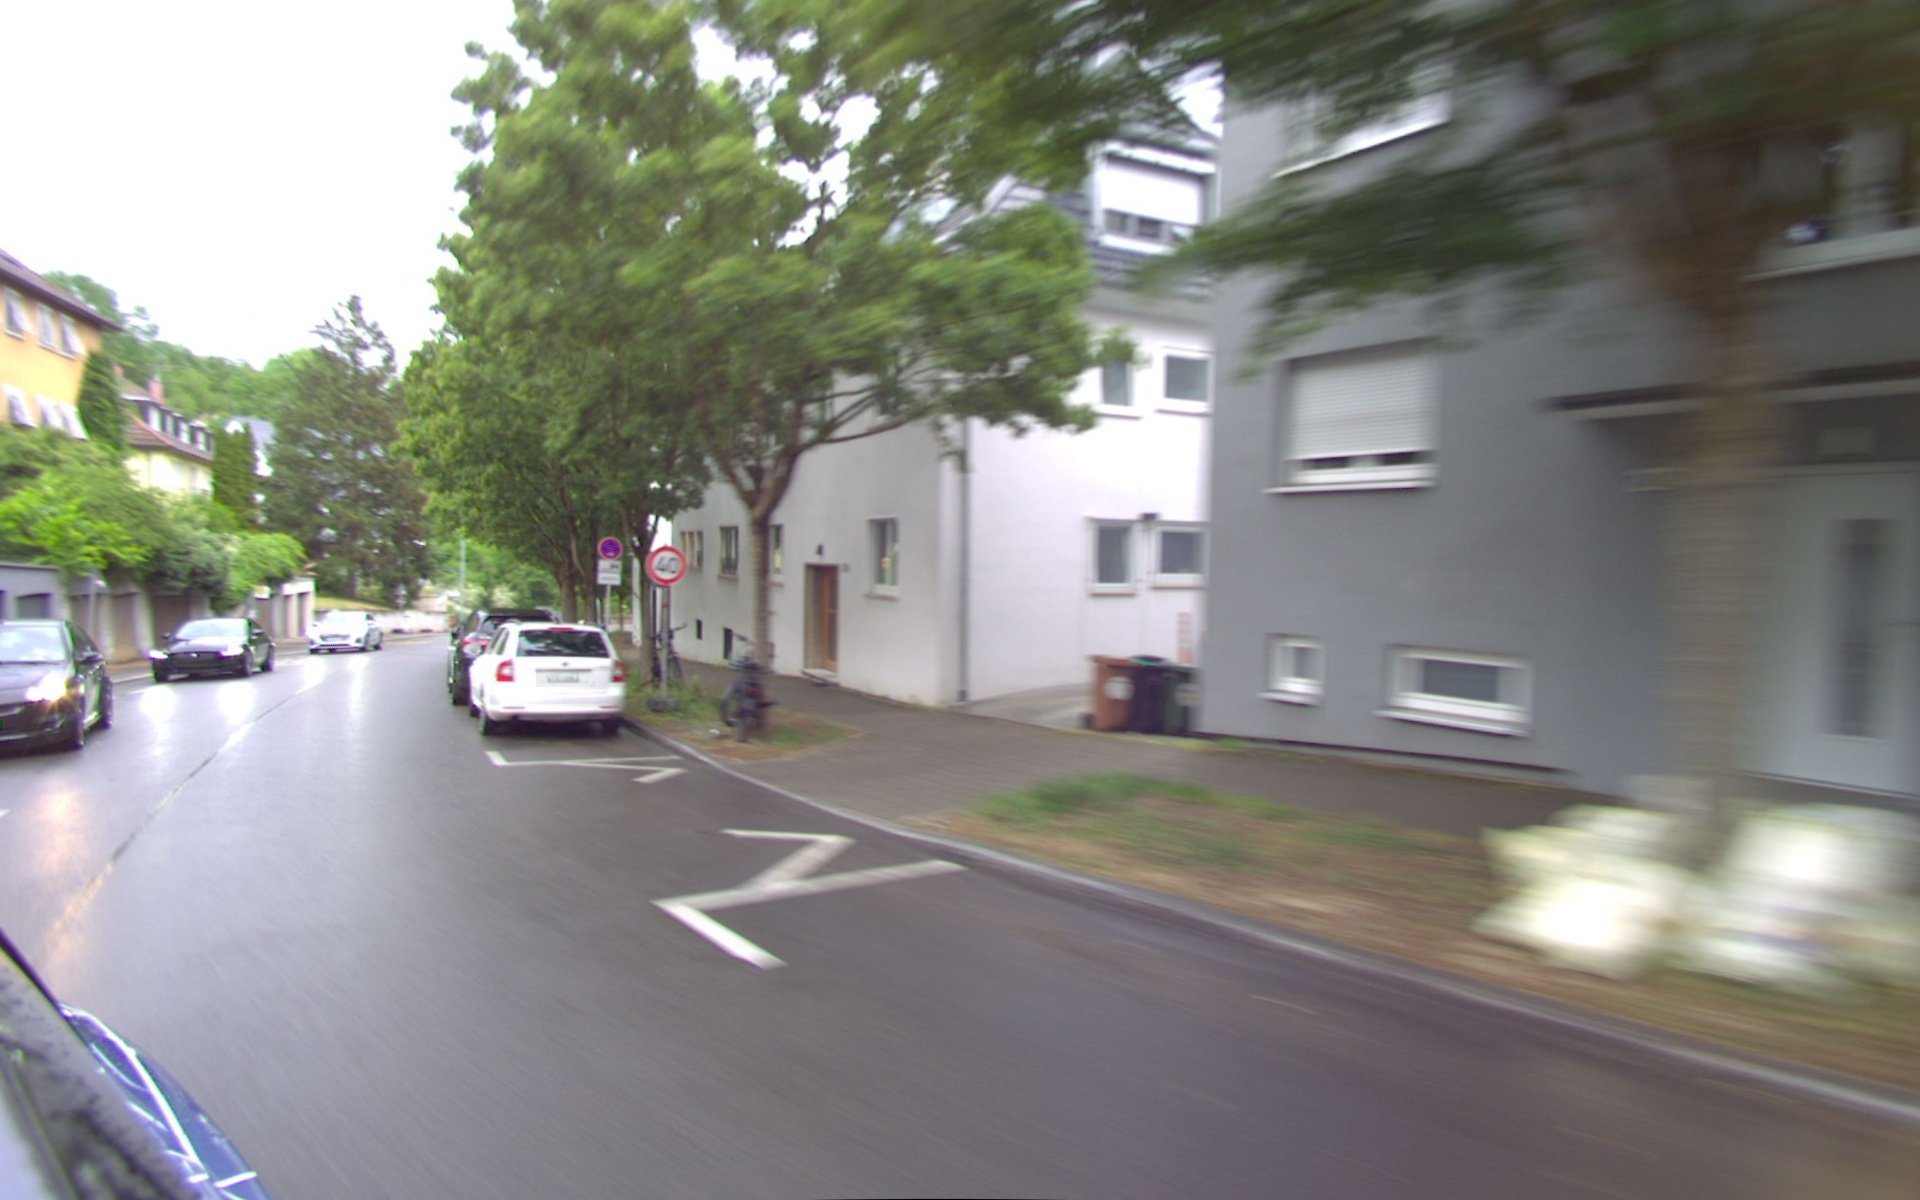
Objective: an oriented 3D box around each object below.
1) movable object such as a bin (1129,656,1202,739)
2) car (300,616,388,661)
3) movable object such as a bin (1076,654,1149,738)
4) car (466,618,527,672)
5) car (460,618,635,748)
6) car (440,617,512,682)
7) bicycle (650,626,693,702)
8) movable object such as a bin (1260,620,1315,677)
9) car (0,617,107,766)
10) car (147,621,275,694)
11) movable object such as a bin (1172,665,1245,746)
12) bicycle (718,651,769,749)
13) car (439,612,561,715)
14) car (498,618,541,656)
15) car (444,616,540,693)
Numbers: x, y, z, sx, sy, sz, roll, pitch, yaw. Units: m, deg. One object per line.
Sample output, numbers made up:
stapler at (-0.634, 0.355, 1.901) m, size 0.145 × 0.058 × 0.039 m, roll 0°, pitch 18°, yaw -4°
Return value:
movable object such as a bin at (2.551, 1.199, 12.596) m, size 0.646 × 0.958 × 0.646 m, roll 0°, pitch -1°, yaw -19°
car at (-24.638, 1.525, 40.670) m, size 1.979 × 1.674 × 4.459 m, roll 2°, pitch -2°, yaw -18°
movable object such as a bin at (1.856, 1.152, 12.374) m, size 0.646 × 0.958 × 0.646 m, roll 0°, pitch -1°, yaw -19°
car at (-14.613, 1.394, 32.042) m, size 1.533 × 1.522 × 3.395 m, roll 4°, pitch -2°, yaw -22°
car at (-5.870, 1.038, 14.102) m, size 1.658 × 1.520 × 4.329 m, roll 2°, pitch -2°, yaw -30°
car at (-13.062, 1.293, 27.474) m, size 1.533 × 1.500 × 4.111 m, roll 4°, pitch -2°, yaw -24°
bicycle at (-5.161, 1.108, 18.040) m, size 0.610 × 1.261 × 1.911 m, roll 0°, pitch -1°, yaw -19°
movable object such as a bin at (5.702, 0.835, 17.639) m, size 0.633 × 0.958 × 0.659 m, roll 0°, pitch -1°, yaw -33°
car at (-10.894, 0.947, 11.444) m, size 1.553 × 1.463 × 3.596 m, roll 0°, pitch 0°, yaw -34°
car at (-18.086, 1.348, 24.623) m, size 1.778 × 1.499 × 4.030 m, roll -3°, pitch 0°, yaw -27°
movable object such as a bin at (3.172, 1.331, 12.941) m, size 0.646 × 0.958 × 0.646 m, roll 0°, pitch -1°, yaw -19°
bicycle at (-2.674, 1.182, 12.409) m, size 0.429 × 1.037 × 1.911 m, roll 0°, pitch -1°, yaw -17°
car at (-8.440, 1.067, 18.372) m, size 1.658 × 1.621 × 4.591 m, roll 2°, pitch -2°, yaw -29°
car at (-22.126, 1.832, 50.938) m, size 1.595 × 1.671 × 3.936 m, roll 4°, pitch -2°, yaw -19°
car at (-11.172, 1.254, 24.027) m, size 1.610 × 1.576 × 3.860 m, roll 4°, pitch -2°, yaw -30°
